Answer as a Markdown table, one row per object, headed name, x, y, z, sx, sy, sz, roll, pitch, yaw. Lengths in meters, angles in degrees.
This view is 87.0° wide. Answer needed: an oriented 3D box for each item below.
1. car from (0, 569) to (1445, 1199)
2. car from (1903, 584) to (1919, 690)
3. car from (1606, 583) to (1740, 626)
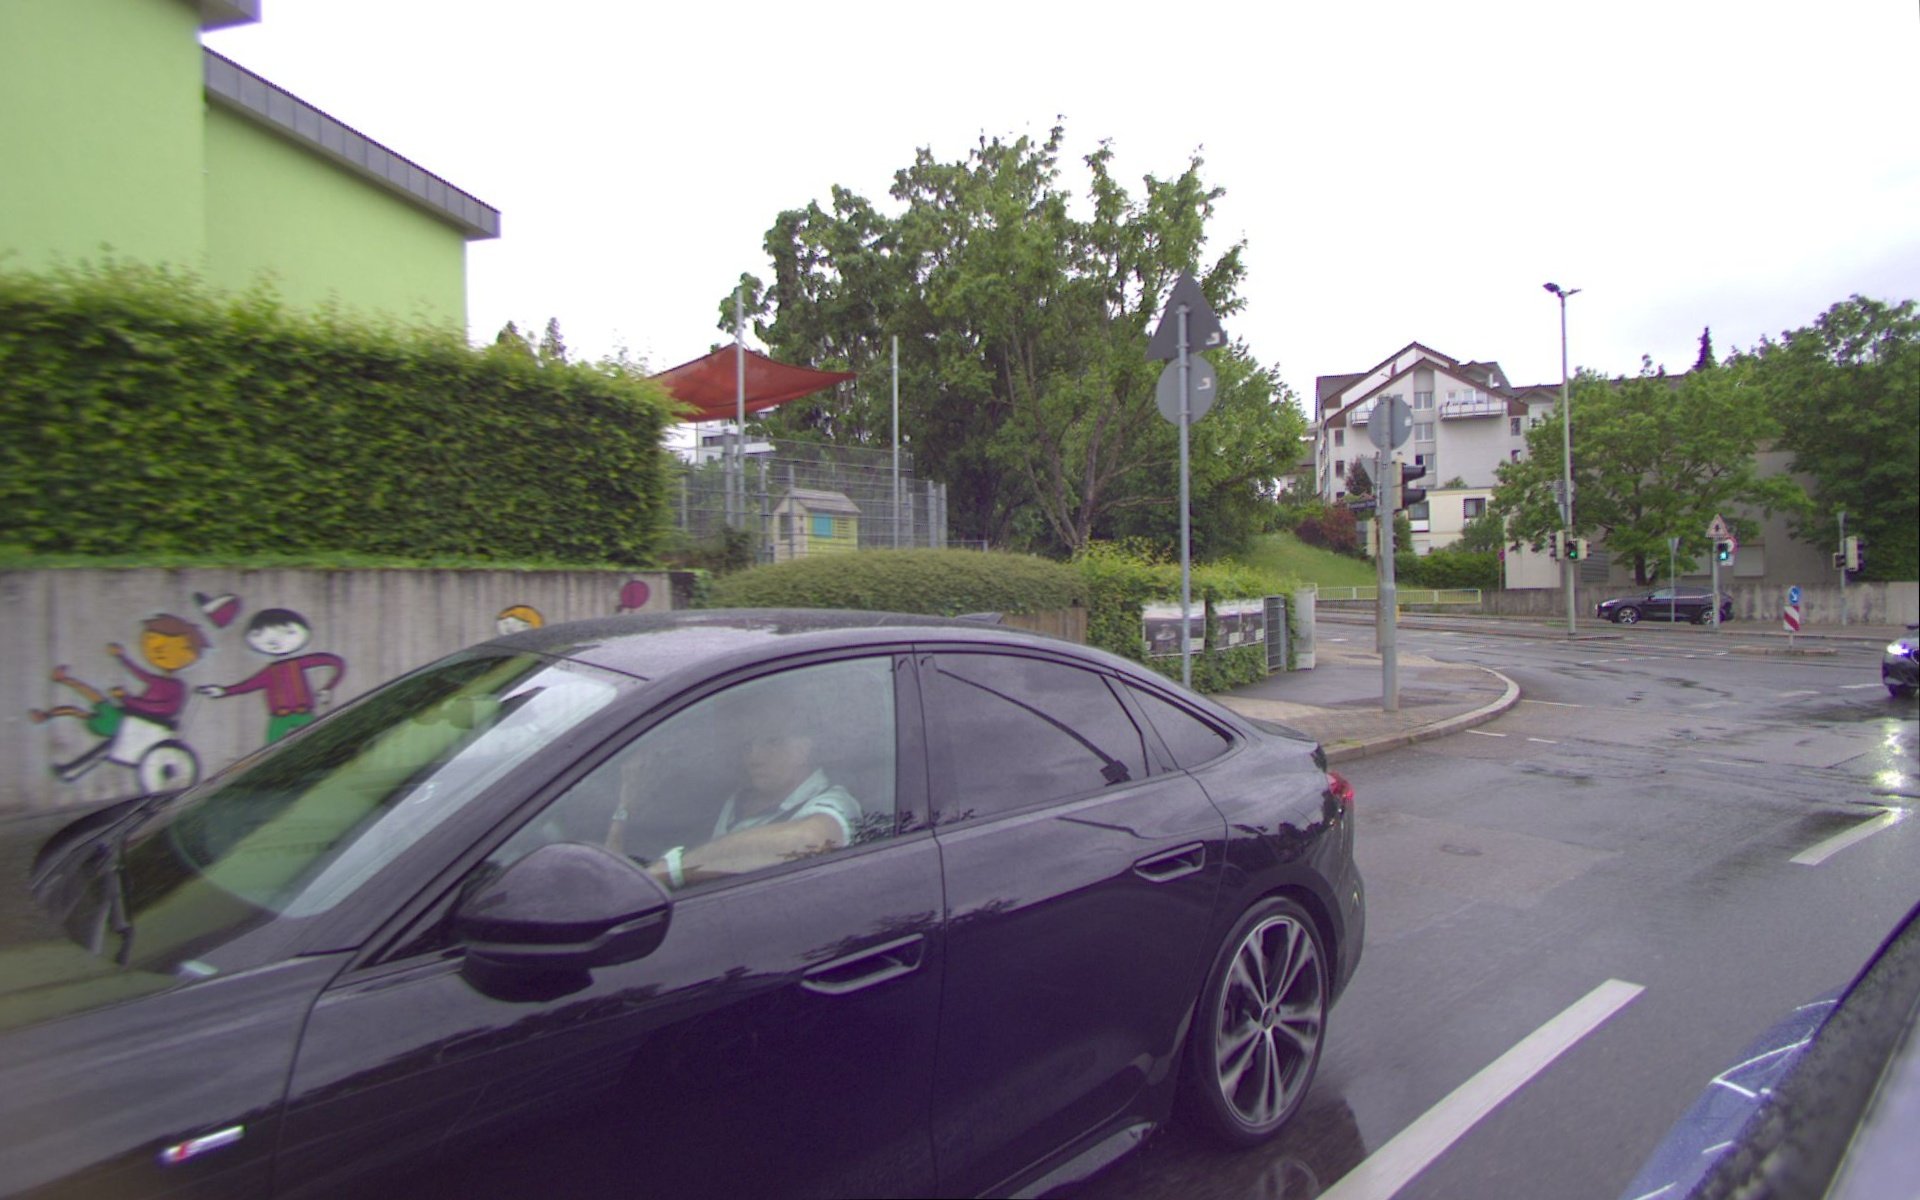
| name | x | y | z | sx | sy | sz | roll | pitch | yaw |
| --- | --- | --- | --- | --- | --- | --- | --- | --- | --- |
| car | -0.851 | 0.680 | 2.399 | 4.656 | 1.442 | 1.870 | -2 | 2 | -40 |
| car | 16.009 | 0.506 | 15.259 | 3.925 | 1.538 | 1.874 | -2 | 1 | -35 |
| car | 27.336 | 0.165 | 38.936 | 3.958 | 1.571 | 1.680 | 0 | 1 | 26 |
